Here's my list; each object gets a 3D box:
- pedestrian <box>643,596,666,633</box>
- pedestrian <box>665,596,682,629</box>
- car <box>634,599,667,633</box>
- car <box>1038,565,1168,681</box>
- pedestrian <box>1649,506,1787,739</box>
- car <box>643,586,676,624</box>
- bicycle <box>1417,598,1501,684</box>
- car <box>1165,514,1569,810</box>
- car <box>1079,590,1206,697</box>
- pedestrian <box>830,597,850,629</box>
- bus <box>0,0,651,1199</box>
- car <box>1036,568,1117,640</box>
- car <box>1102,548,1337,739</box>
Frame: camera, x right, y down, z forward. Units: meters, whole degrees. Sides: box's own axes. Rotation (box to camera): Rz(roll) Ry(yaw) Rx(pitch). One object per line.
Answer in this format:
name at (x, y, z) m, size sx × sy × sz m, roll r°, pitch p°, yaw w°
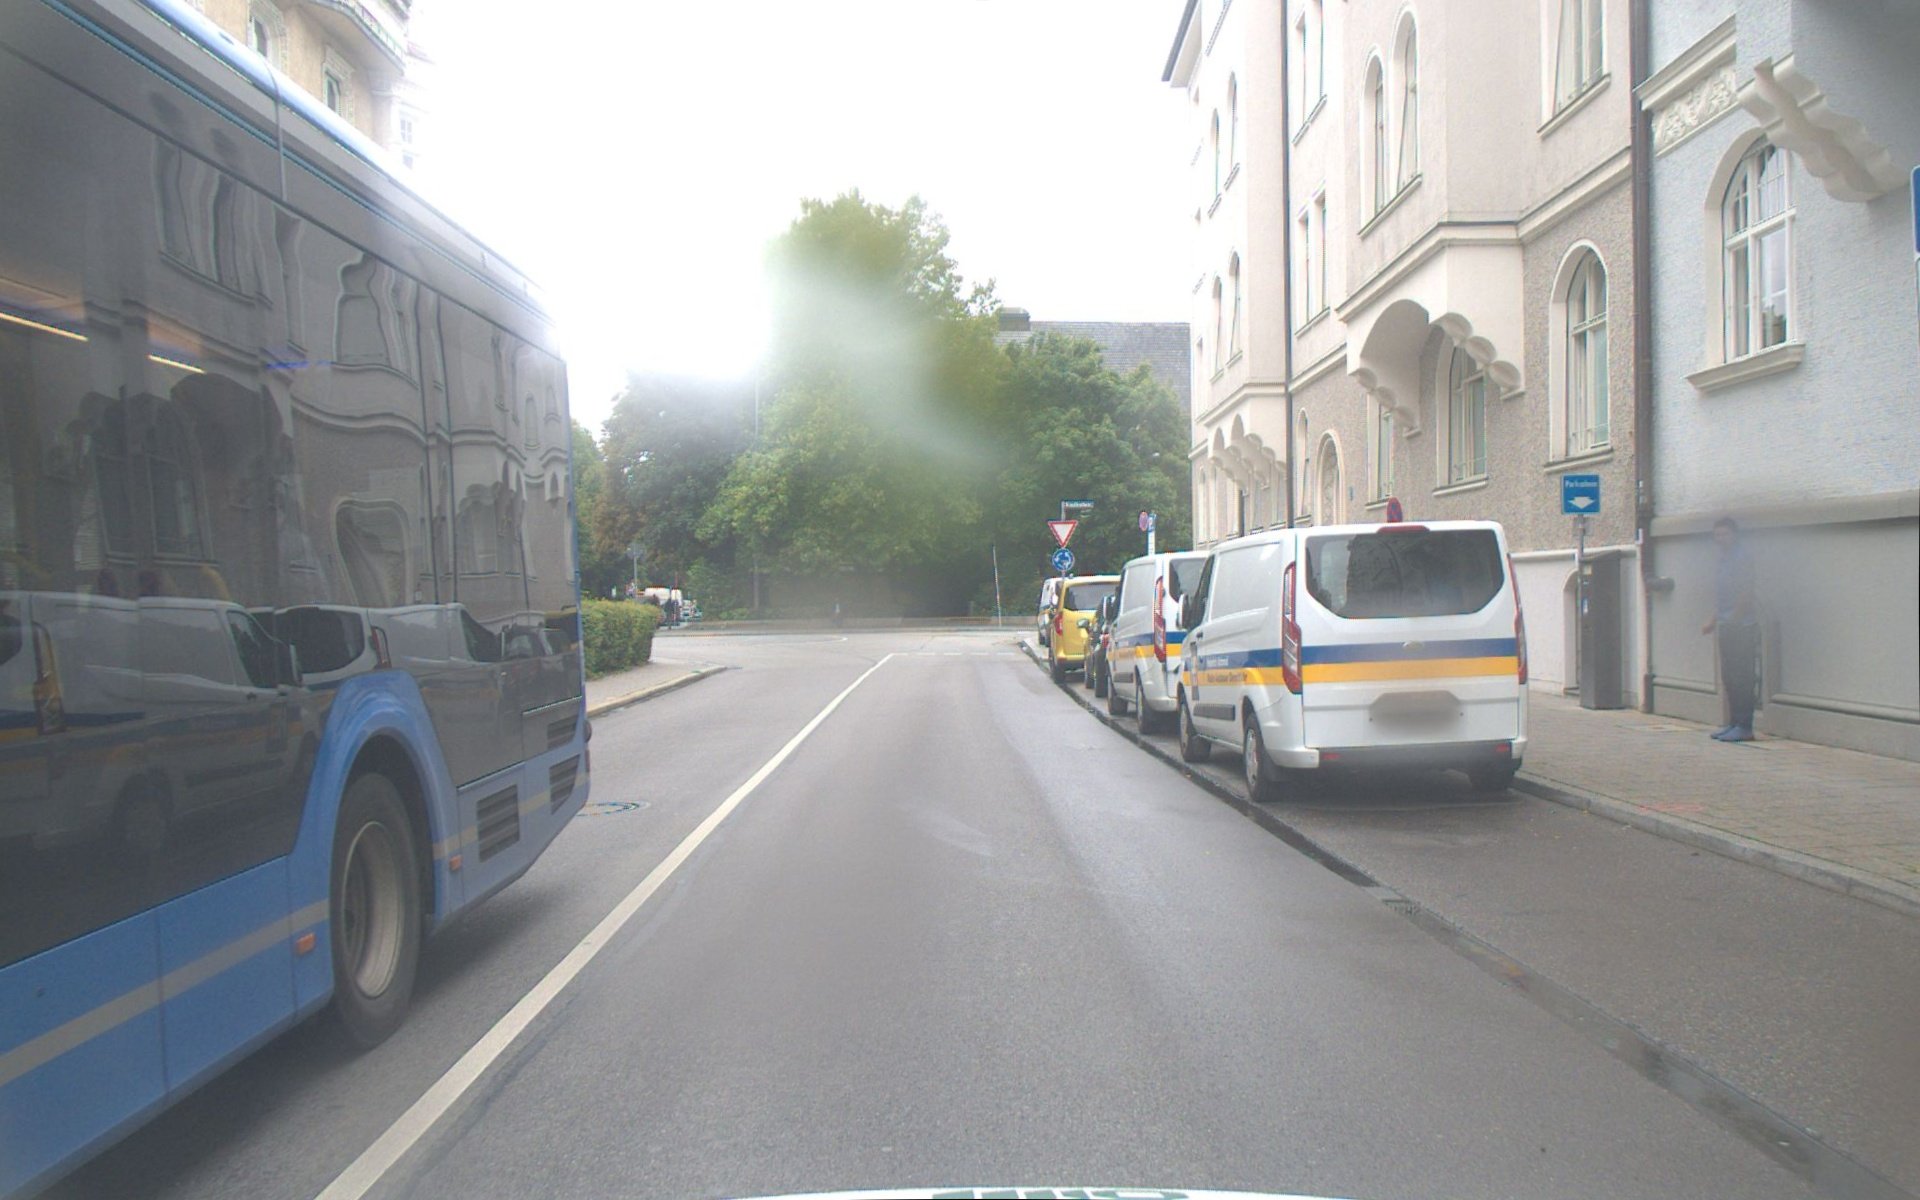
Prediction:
pedestrian at (-15.587, 0.721, 84.385) m, size 0.813 × 1.868 × 0.940 m, roll -1°, pitch 0°, yaw -35°
pedestrian at (-14.621, 0.628, 84.344) m, size 0.626 × 1.696 × 0.690 m, roll -1°, pitch 0°, yaw -30°
car at (-18.914, 0.954, 101.177) m, size 1.876 × 1.971 × 4.957 m, roll -1°, pitch 0°, yaw -10°
car at (2.560, 0.399, 30.668) m, size 1.953 × 1.952 × 4.570 m, roll -1°, pitch 0°, yaw -1°
pedestrian at (6.522, 0.188, 14.266) m, size 0.834 × 1.936 × 0.746 m, roll -1°, pitch 0°, yaw 3°
car at (-21.241, 0.334, 117.077) m, size 1.956 × 2.603 × 5.421 m, roll -1°, pitch 0°, yaw -8°
bicycle at (6.990, 0.549, 23.238) m, size 0.652 × 1.153 × 1.722 m, roll -1°, pitch 0°, yaw 0°
car at (3.054, 0.412, 13.600) m, size 1.953 × 1.952 × 4.876 m, roll -1°, pitch 0°, yaw -2°
car at (2.800, 0.625, 26.051) m, size 1.600 × 1.540 × 3.885 m, roll -1°, pitch 0°, yaw 1°
pedestrian at (-5.211, 0.553, 71.948) m, size 0.753 × 1.380 × 1.132 m, roll -1°, pitch 0°, yaw 1°
bus at (-3.394, -0.172, 0.444) m, size 3.106 × 3.268 × 18.057 m, roll -2°, pitch 0°, yaw 0°
car at (3.405, 0.096, 49.358) m, size 1.899 × 1.955 × 5.373 m, roll -2°, pitch 0°, yaw -1°
car at (2.913, 0.445, 19.657) m, size 1.953 × 1.952 × 4.885 m, roll -1°, pitch 0°, yaw -1°
